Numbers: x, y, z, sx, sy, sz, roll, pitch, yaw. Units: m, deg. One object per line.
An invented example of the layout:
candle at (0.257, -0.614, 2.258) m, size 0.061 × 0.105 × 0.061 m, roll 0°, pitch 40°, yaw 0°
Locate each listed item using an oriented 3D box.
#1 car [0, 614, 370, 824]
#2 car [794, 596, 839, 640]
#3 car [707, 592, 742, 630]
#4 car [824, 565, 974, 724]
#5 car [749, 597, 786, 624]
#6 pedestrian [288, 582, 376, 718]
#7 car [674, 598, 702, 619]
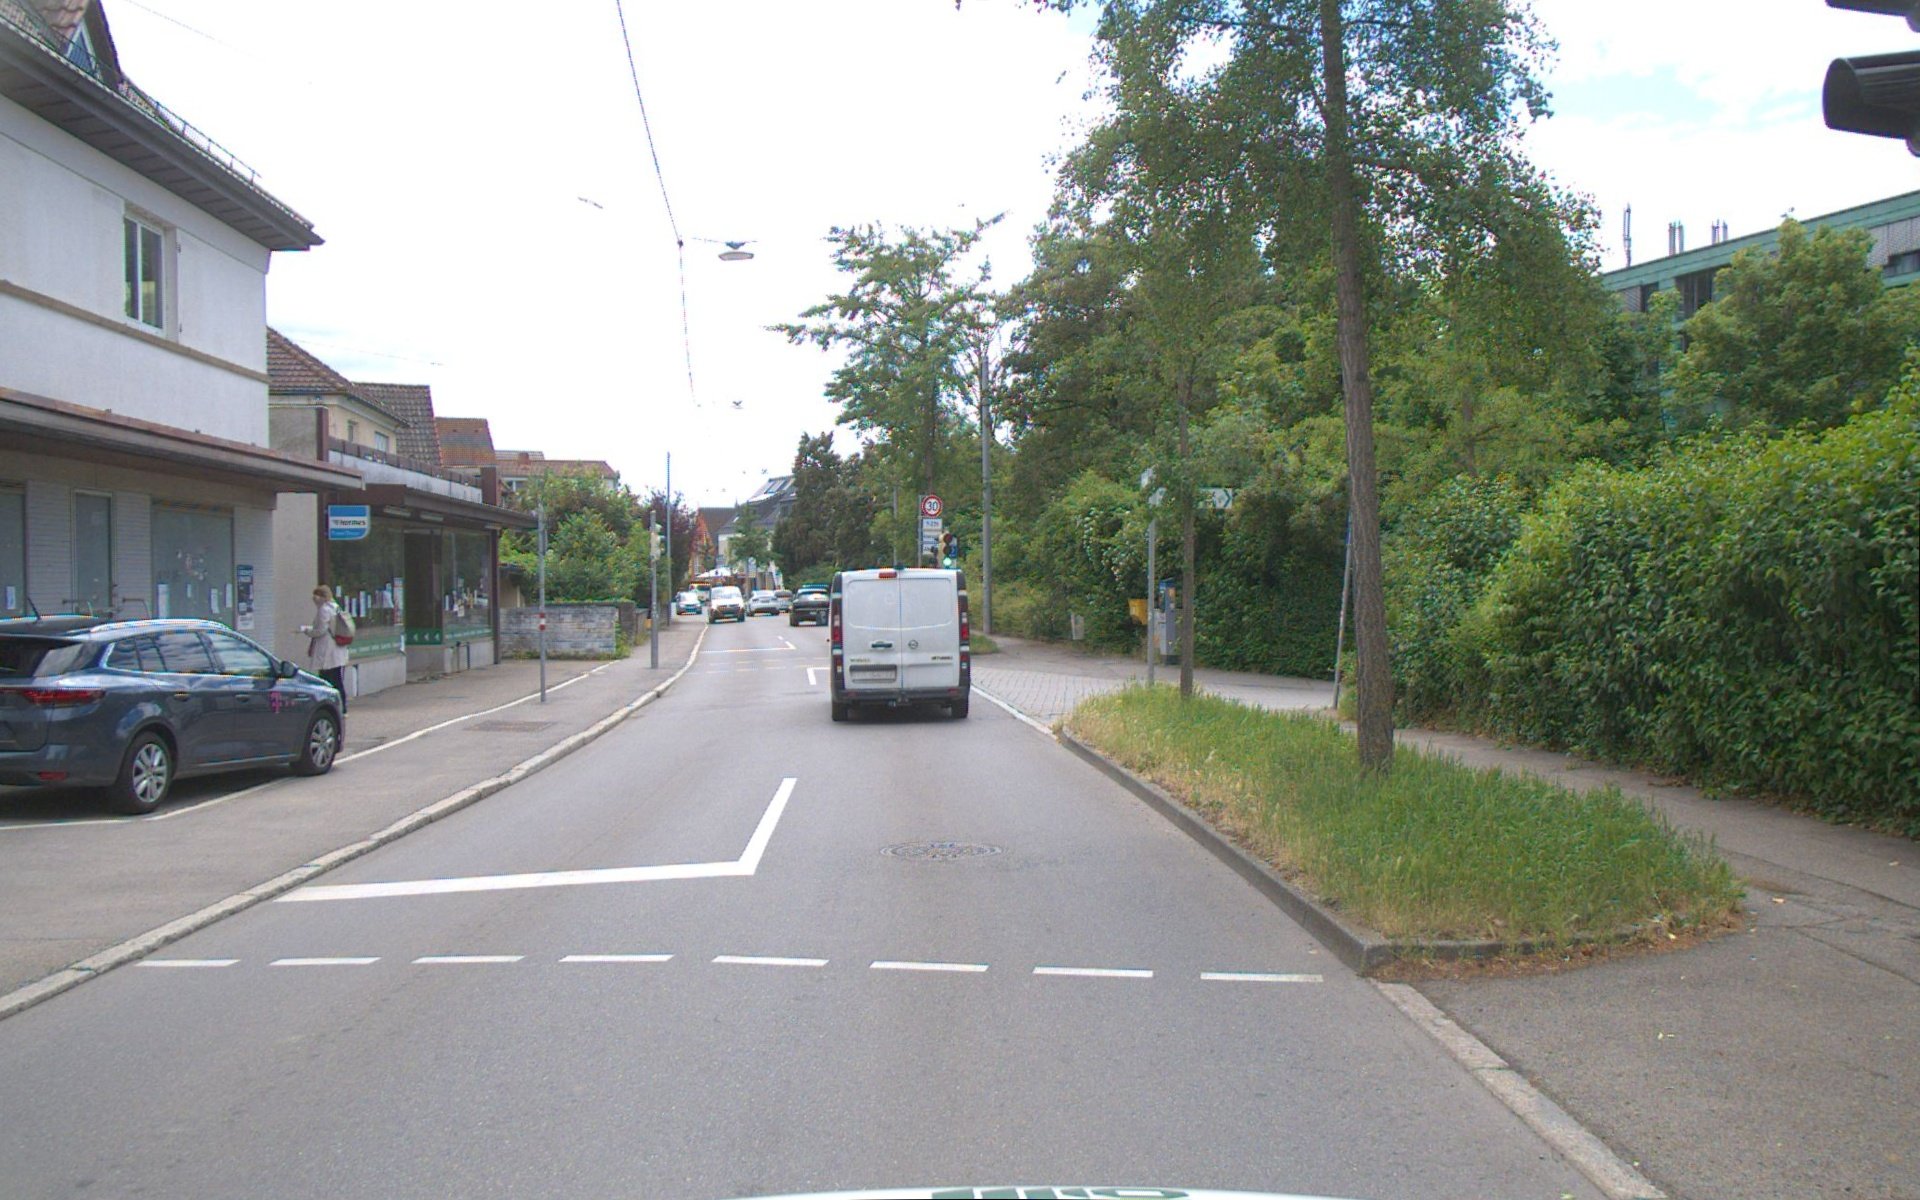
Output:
car at (-6.934, 0.880, 14.074) m, size 1.742 × 1.467 × 4.528 m, roll 1°, pitch -1°, yaw 6°
car at (-6.343, 0.782, 73.378) m, size 1.859 × 1.892 × 4.401 m, roll 0°, pitch -1°, yaw -3°
car at (-13.127, 0.598, 92.325) m, size 1.832 × 1.944 × 5.106 m, roll -3°, pitch 1°, yaw -8°
car at (-0.835, 0.583, 23.097) m, size 1.891 × 1.998 × 4.400 m, roll 0°, pitch -1°, yaw -2°
car at (-12.500, 0.686, 107.036) m, size 1.795 × 1.758 × 3.983 m, roll 0°, pitch -1°, yaw -15°
pedestrian at (-8.420, 0.666, 22.226) m, size 0.865 × 1.781 × 0.962 m, roll 1°, pitch -1°, yaw -8°
car at (-21.007, 0.613, 127.482) m, size 1.851 × 1.538 × 4.099 m, roll -2°, pitch 0°, yaw -13°
